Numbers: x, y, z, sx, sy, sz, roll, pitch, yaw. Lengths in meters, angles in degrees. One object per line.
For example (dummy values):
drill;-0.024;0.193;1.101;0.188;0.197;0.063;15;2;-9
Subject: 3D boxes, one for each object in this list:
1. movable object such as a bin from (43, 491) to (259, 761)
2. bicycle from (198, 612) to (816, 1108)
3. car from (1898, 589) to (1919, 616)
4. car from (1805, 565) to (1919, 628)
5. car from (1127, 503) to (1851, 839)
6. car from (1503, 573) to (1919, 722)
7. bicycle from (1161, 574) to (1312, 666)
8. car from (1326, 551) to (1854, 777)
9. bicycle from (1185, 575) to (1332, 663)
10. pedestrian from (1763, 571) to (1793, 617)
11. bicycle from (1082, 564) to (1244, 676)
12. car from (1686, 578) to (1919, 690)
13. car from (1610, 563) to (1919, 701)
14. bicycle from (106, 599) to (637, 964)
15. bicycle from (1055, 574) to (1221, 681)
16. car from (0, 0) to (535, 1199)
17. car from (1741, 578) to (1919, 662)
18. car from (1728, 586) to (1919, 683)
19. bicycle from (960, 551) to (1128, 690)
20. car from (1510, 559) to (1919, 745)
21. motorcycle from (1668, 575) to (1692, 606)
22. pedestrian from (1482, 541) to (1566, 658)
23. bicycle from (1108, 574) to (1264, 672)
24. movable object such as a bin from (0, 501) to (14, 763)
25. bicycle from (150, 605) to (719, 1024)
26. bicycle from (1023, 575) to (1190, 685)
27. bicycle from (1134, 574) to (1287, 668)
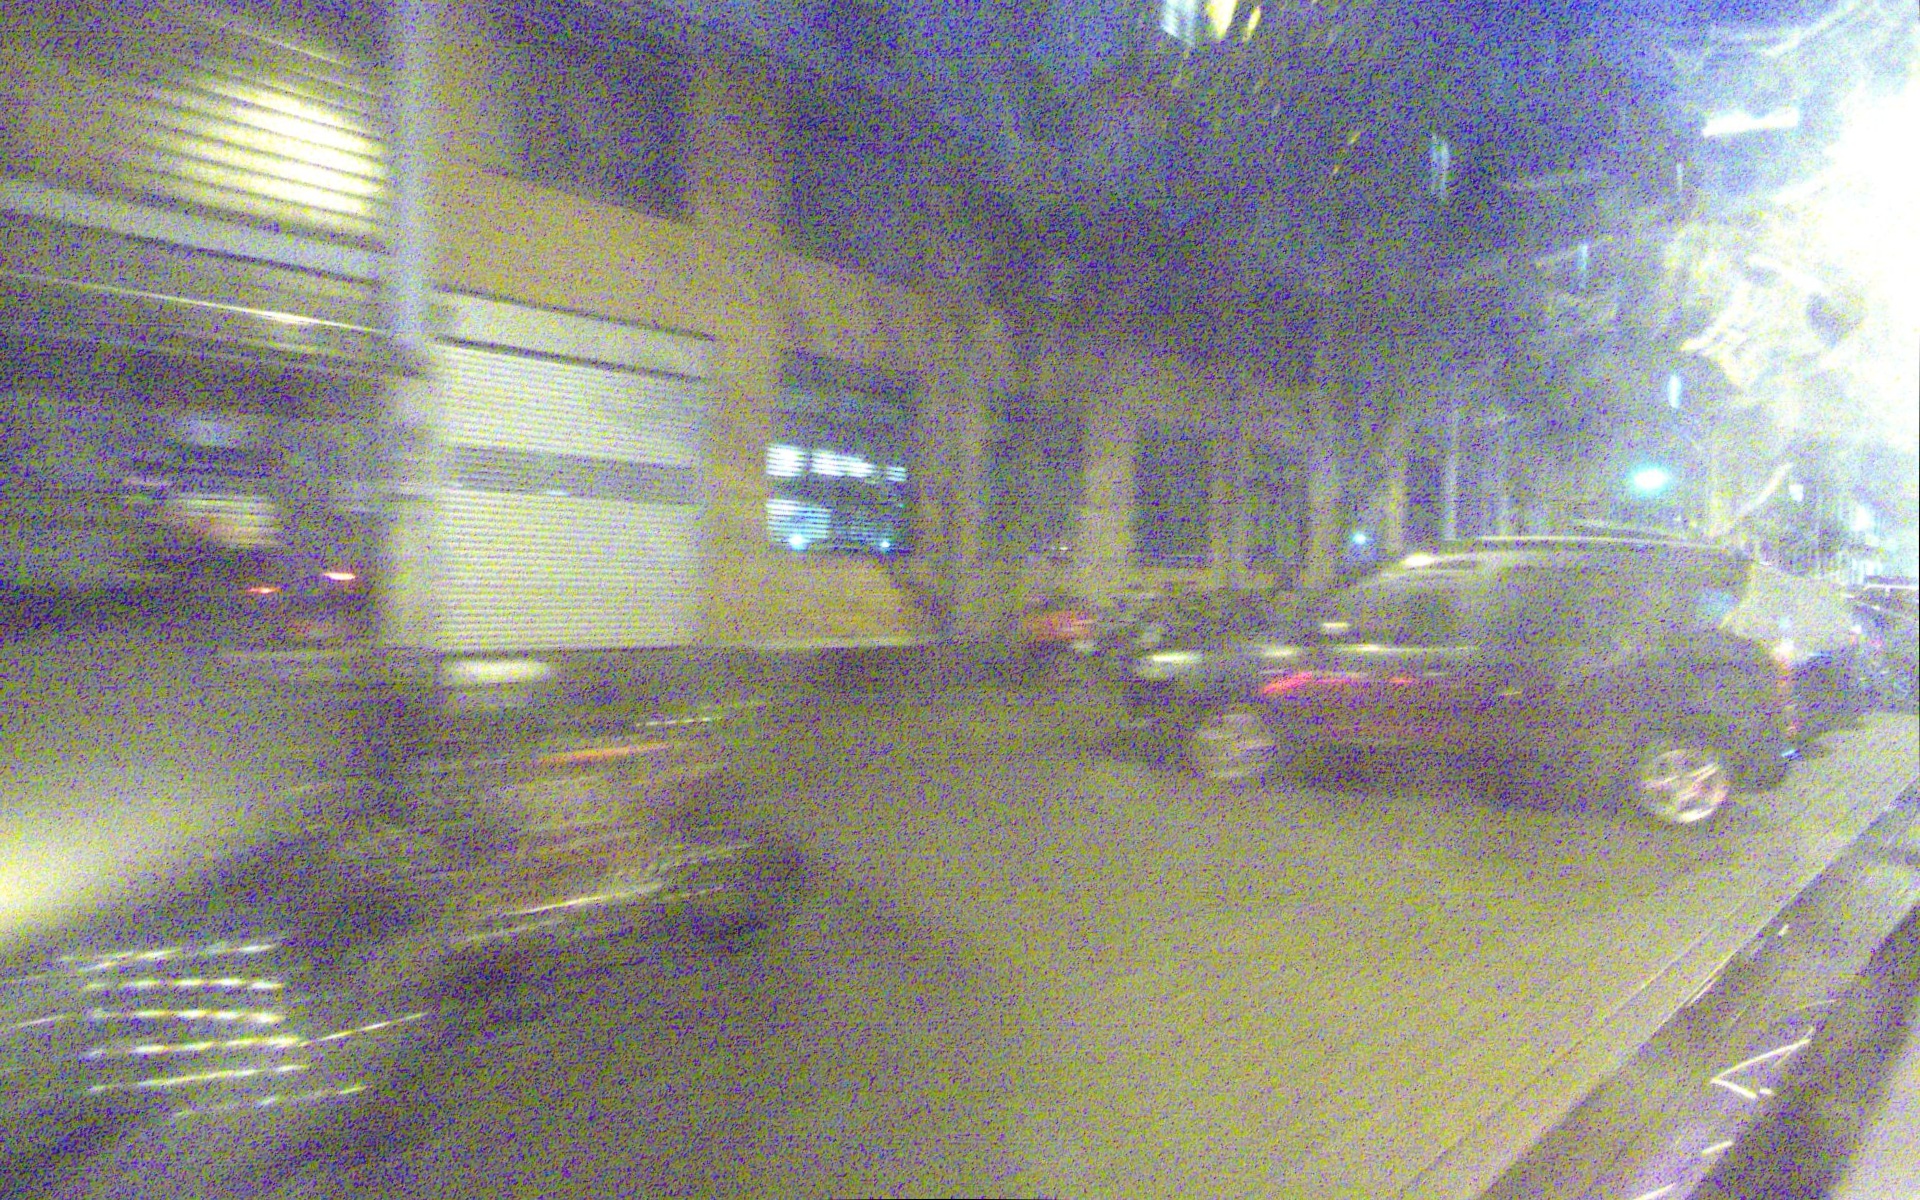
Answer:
movable object such as a bin;-5.098;0.102;6.390;0.981;1.468;1.212;0;6;-40
bicycle;-1.370;0.658;3.417;0.583;1.186;1.838;2;1;39
car;57.327;0.262;58.619;4.051;1.509;1.590;3;2;12
car;37.730;-0.133;40.908;4.871;2.369;2.222;2;2;15
car;3.440;0.341;7.427;4.186;1.881;1.710;3;3;14
car;9.307;0.505;12.811;4.012;1.631;1.832;1;1;20
bicycle;3.813;0.244;14.086;1.972;1.067;0.502;6;5;43
car;5.393;0.462;9.237;3.722;1.750;1.708;1;1;16
bicycle;4.286;0.237;14.669;1.972;1.067;0.502;6;5;43
pedestrian;34.122;-0.258;42.202;0.828;1.863;0.747;3;1;-42
bicycle;2.519;0.213;12.762;1.972;1.205;0.502;6;5;43
car;13.895;0.490;16.140;3.532;1.631;1.696;1;1;28
car;11.831;0.393;14.373;4.059;1.787;1.845;1;1;22
bicycle;-2.334;0.601;4.249;0.583;1.186;1.838;2;1;39
bicycle;2.113;0.291;12.256;1.972;1.067;0.502;6;5;43
car;-3.414;0.146;1.818;4.655;2.275;1.939;2;2;14
car;19.184;0.405;21.536;3.674;1.541;1.644;4;3;25
car;15.452;0.556;17.662;3.020;1.571;1.490;1;1;28
bicycle;0.898;0.179;11.461;0.767;1.351;1.980;1;4;-34
car;8.143;0.469;10.780;3.754;1.750;1.731;1;0;19
motorcycle;26.339;-0.353;37.015;0.522;1.080;2.027;2;2;41
pedestrian;9.588;-0.032;17.210;0.932;1.856;0.840;-2;8;-45
bicycle;2.926;0.261;13.276;1.972;1.067;0.502;6;5;43
movable object such as a bin;-5.915;0.153;5.563;0.981;1.388;1.259;0;6;-40
bicycle;-1.849;0.630;3.844;0.583;1.186;1.838;2;1;39
bicycle;1.678;0.308;11.918;1.972;1.067;0.502;6;5;43
bicycle;3.367;0.248;13.735;1.972;1.067;0.502;6;5;43
